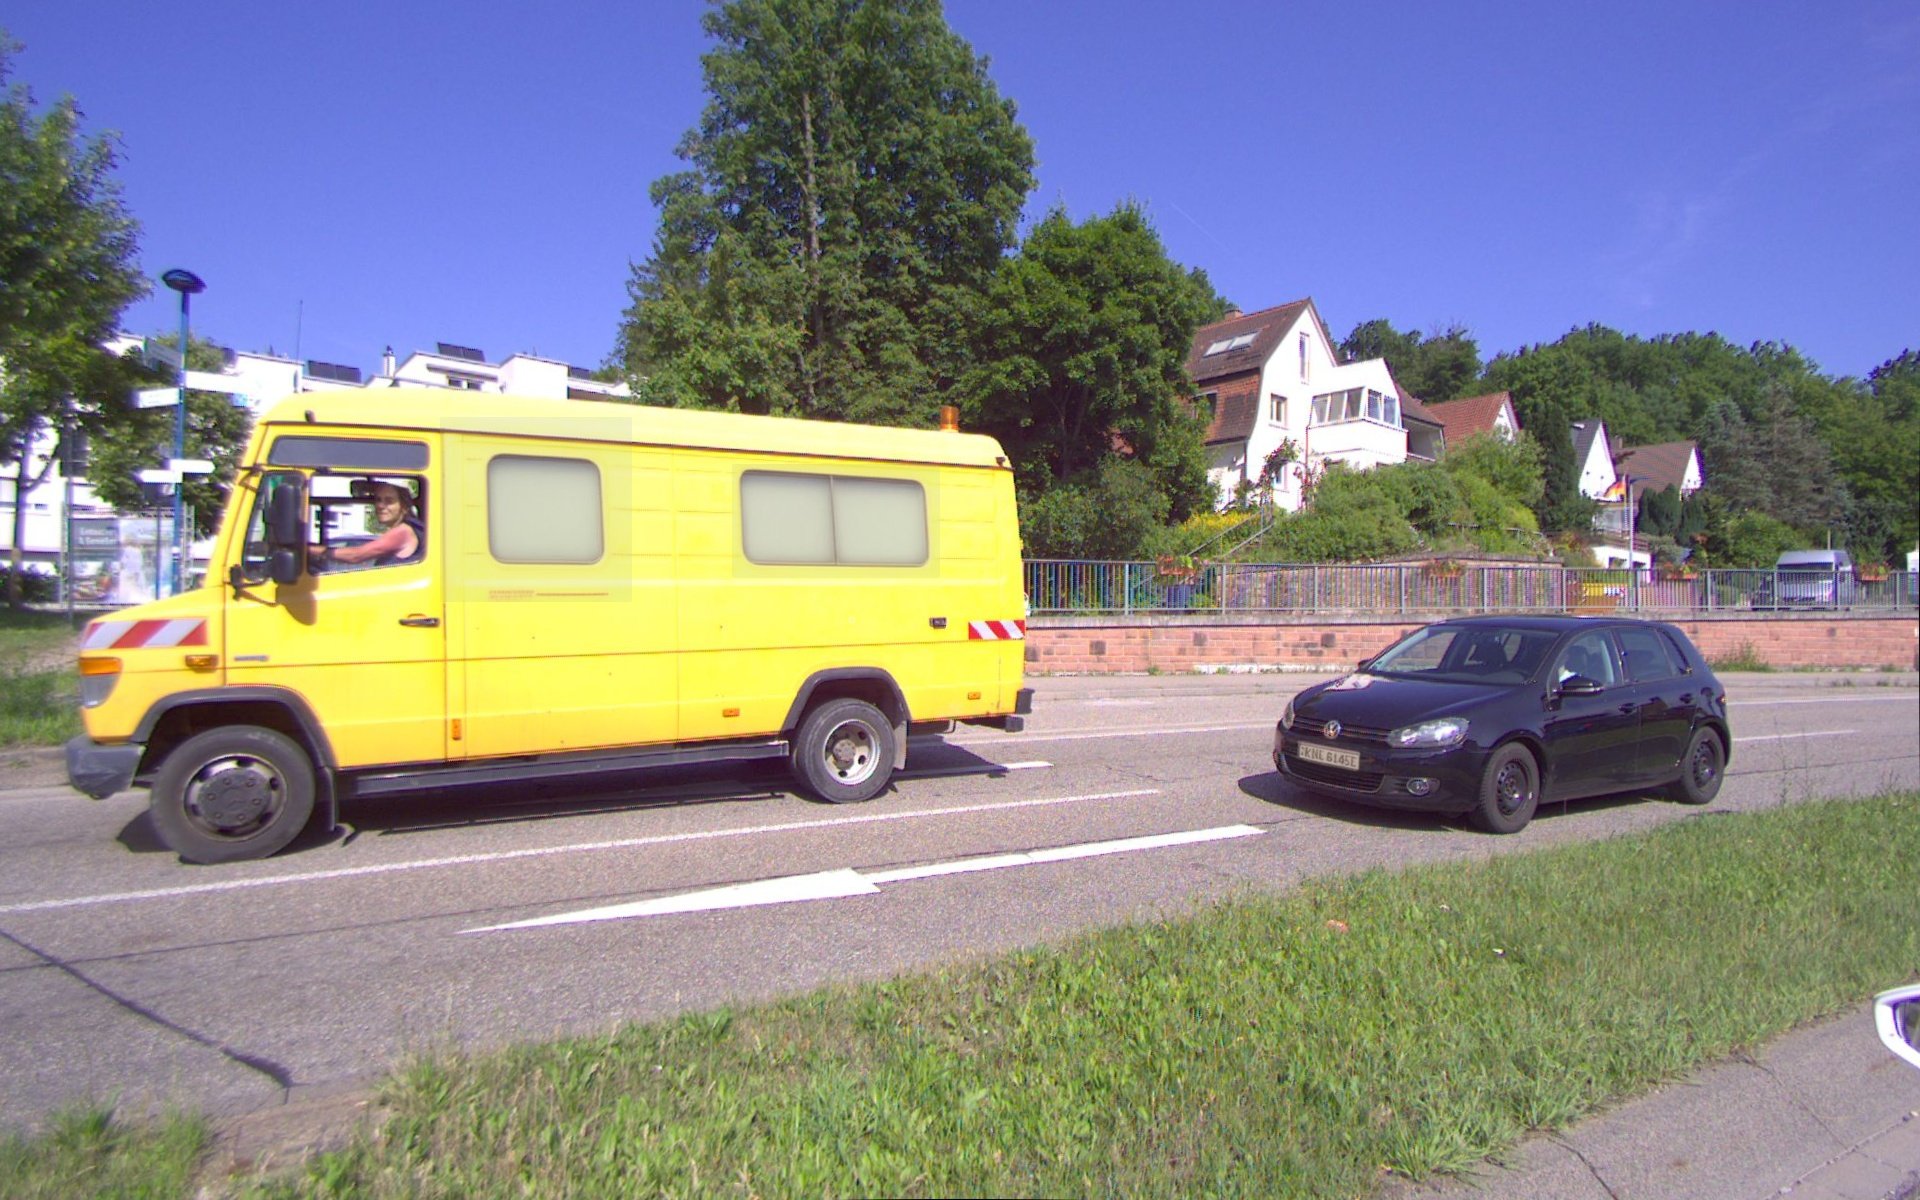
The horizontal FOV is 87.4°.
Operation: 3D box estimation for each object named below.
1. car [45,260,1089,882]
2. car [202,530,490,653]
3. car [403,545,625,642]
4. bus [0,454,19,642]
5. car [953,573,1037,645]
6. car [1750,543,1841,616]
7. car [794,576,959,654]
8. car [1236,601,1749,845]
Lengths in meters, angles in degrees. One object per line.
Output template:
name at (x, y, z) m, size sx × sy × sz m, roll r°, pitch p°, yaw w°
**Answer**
car at (-2.338, -0.104, 7.635) m, size 6.391 × 3.051 × 2.455 m, roll 1°, pitch 1°, yaw -31°
car at (-9.904, -0.194, 16.715) m, size 2.016 × 1.719 × 4.415 m, roll 2°, pitch 2°, yaw 1°
car at (-7.262, -0.154, 16.867) m, size 1.876 × 1.400 × 4.000 m, roll 1°, pitch 2°, yaw 1°
bus at (-25.325, -1.100, 19.598) m, size 11.971 × 3.764 × 2.870 m, roll 1°, pitch 2°, yaw 5°
car at (0.938, 0.198, 29.058) m, size 1.878 × 1.901 × 3.995 m, roll 0°, pitch 2°, yaw -6°
car at (30.955, -0.766, 37.147) m, size 2.071 × 2.477 × 5.747 m, roll 3°, pitch 2°, yaw 45°
car at (-2.013, 0.367, 25.149) m, size 3.920 × 1.813 × 1.922 m, roll 1°, pitch 0°, yaw 1°
car at (4.236, 0.781, 7.864) m, size 3.996 × 1.482 × 1.737 m, roll 1°, pitch -1°, yaw -31°
